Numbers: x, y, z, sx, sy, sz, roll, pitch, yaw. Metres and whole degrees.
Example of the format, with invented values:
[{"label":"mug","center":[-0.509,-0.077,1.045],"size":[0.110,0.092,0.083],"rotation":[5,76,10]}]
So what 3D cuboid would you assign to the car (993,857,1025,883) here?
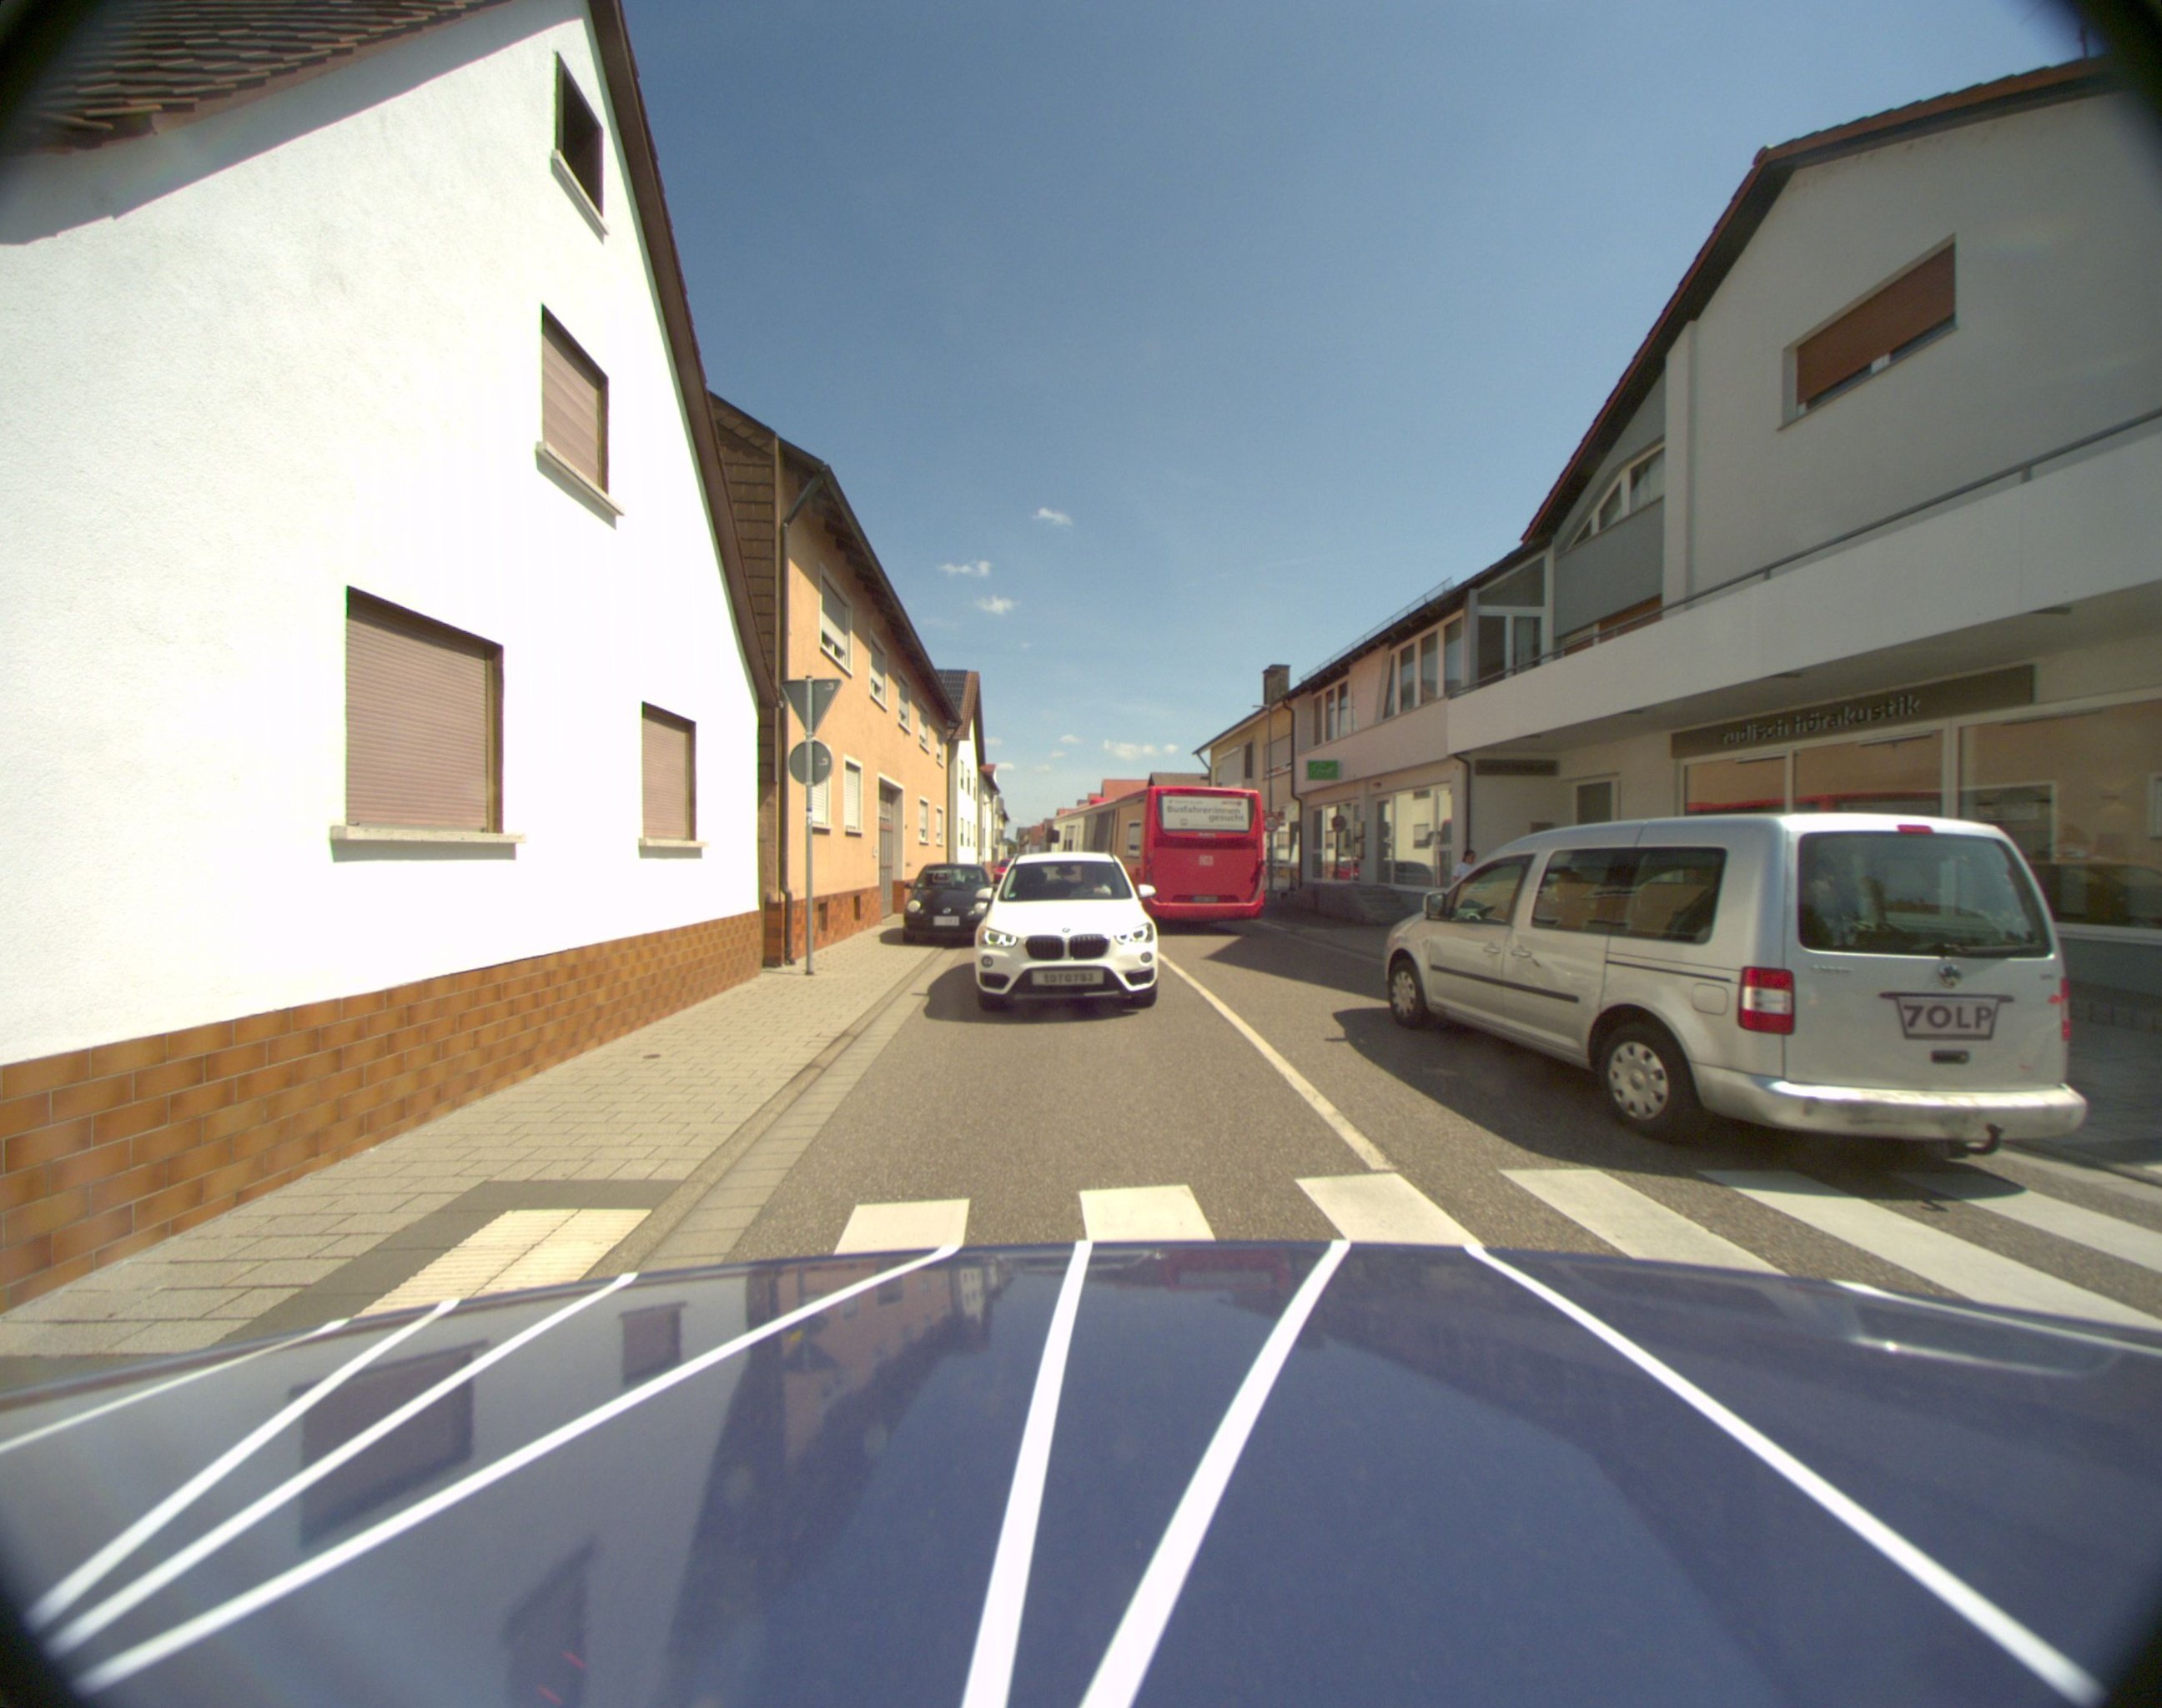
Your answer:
[{"label":"car","center":[-4.087,0.878,43.641],"size":[1.765,1.420,4.187],"rotation":[0,0,-4]}]

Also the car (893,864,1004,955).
[{"label":"car","center":[-2.418,0.963,14.659],"size":[1.691,1.454,3.628],"rotation":[2,0,-4]}]

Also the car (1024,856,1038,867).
[{"label":"car","center":[-6.800,1.044,102.688],"size":[1.765,1.420,4.186],"rotation":[0,0,-7]}]

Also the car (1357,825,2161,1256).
[{"label":"car","center":[3.788,0.800,5.452],"size":[1.776,1.810,4.440],"rotation":[1,0,-3]}]

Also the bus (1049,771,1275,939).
[{"label":"bus","center":[1.360,0.014,20.705],"size":[2.636,3.213,12.010],"rotation":[2,0,-11]}]

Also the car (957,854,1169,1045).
[{"label":"car","center":[-0.270,0.860,9.012],"size":[1.845,1.636,4.373],"rotation":[-2,0,-3]}]

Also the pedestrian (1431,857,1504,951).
[{"label":"pedestrian","center":[6.839,0.856,13.493],"size":[0.757,1.575,0.956],"rotation":[-2,1,-2]}]
